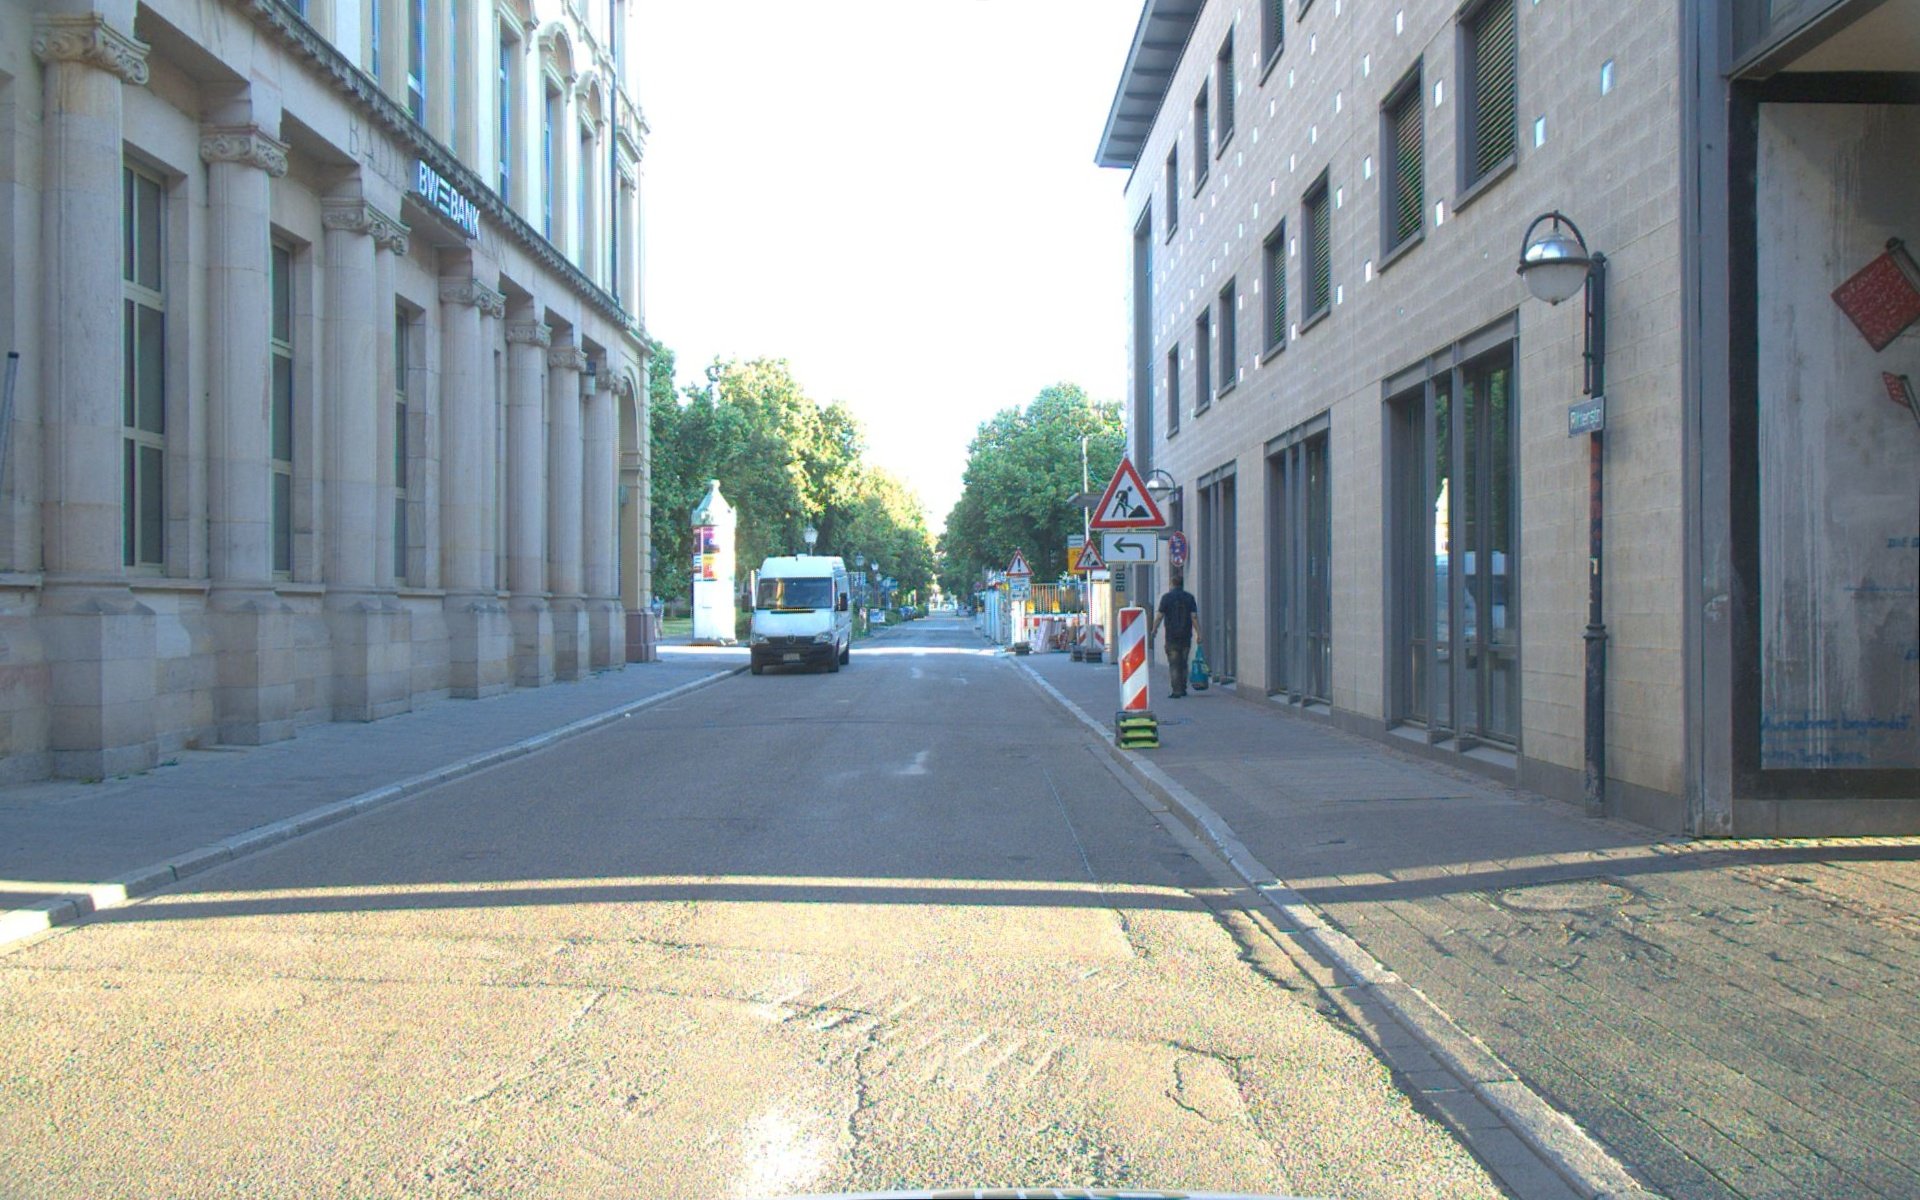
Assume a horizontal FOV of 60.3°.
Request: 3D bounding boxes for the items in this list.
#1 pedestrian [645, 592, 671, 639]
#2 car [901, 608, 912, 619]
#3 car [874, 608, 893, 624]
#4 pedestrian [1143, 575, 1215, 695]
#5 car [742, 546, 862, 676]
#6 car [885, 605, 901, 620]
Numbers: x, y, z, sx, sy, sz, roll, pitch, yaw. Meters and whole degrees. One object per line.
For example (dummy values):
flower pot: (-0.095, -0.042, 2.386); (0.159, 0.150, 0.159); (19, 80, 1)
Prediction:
pedestrian: (-11.196, 0.574, 61.321); (0.730, 1.732, 0.703); (-1, 0, 6)
car: (-6.936, 1.727, 215.004); (1.438, 1.429, 3.678); (0, 0, -1)
car: (-6.290, 1.284, 136.272); (1.438, 1.278, 3.678); (0, 0, -1)
pedestrian: (3.268, 0.517, 24.722); (0.904, 1.732, 0.868); (-1, 0, -1)
car: (-3.473, 0.218, 37.580); (1.955, 2.555, 6.469); (-4, 0, 0)
car: (-6.545, 1.253, 161.642); (1.438, 1.429, 3.678); (0, 0, -1)
